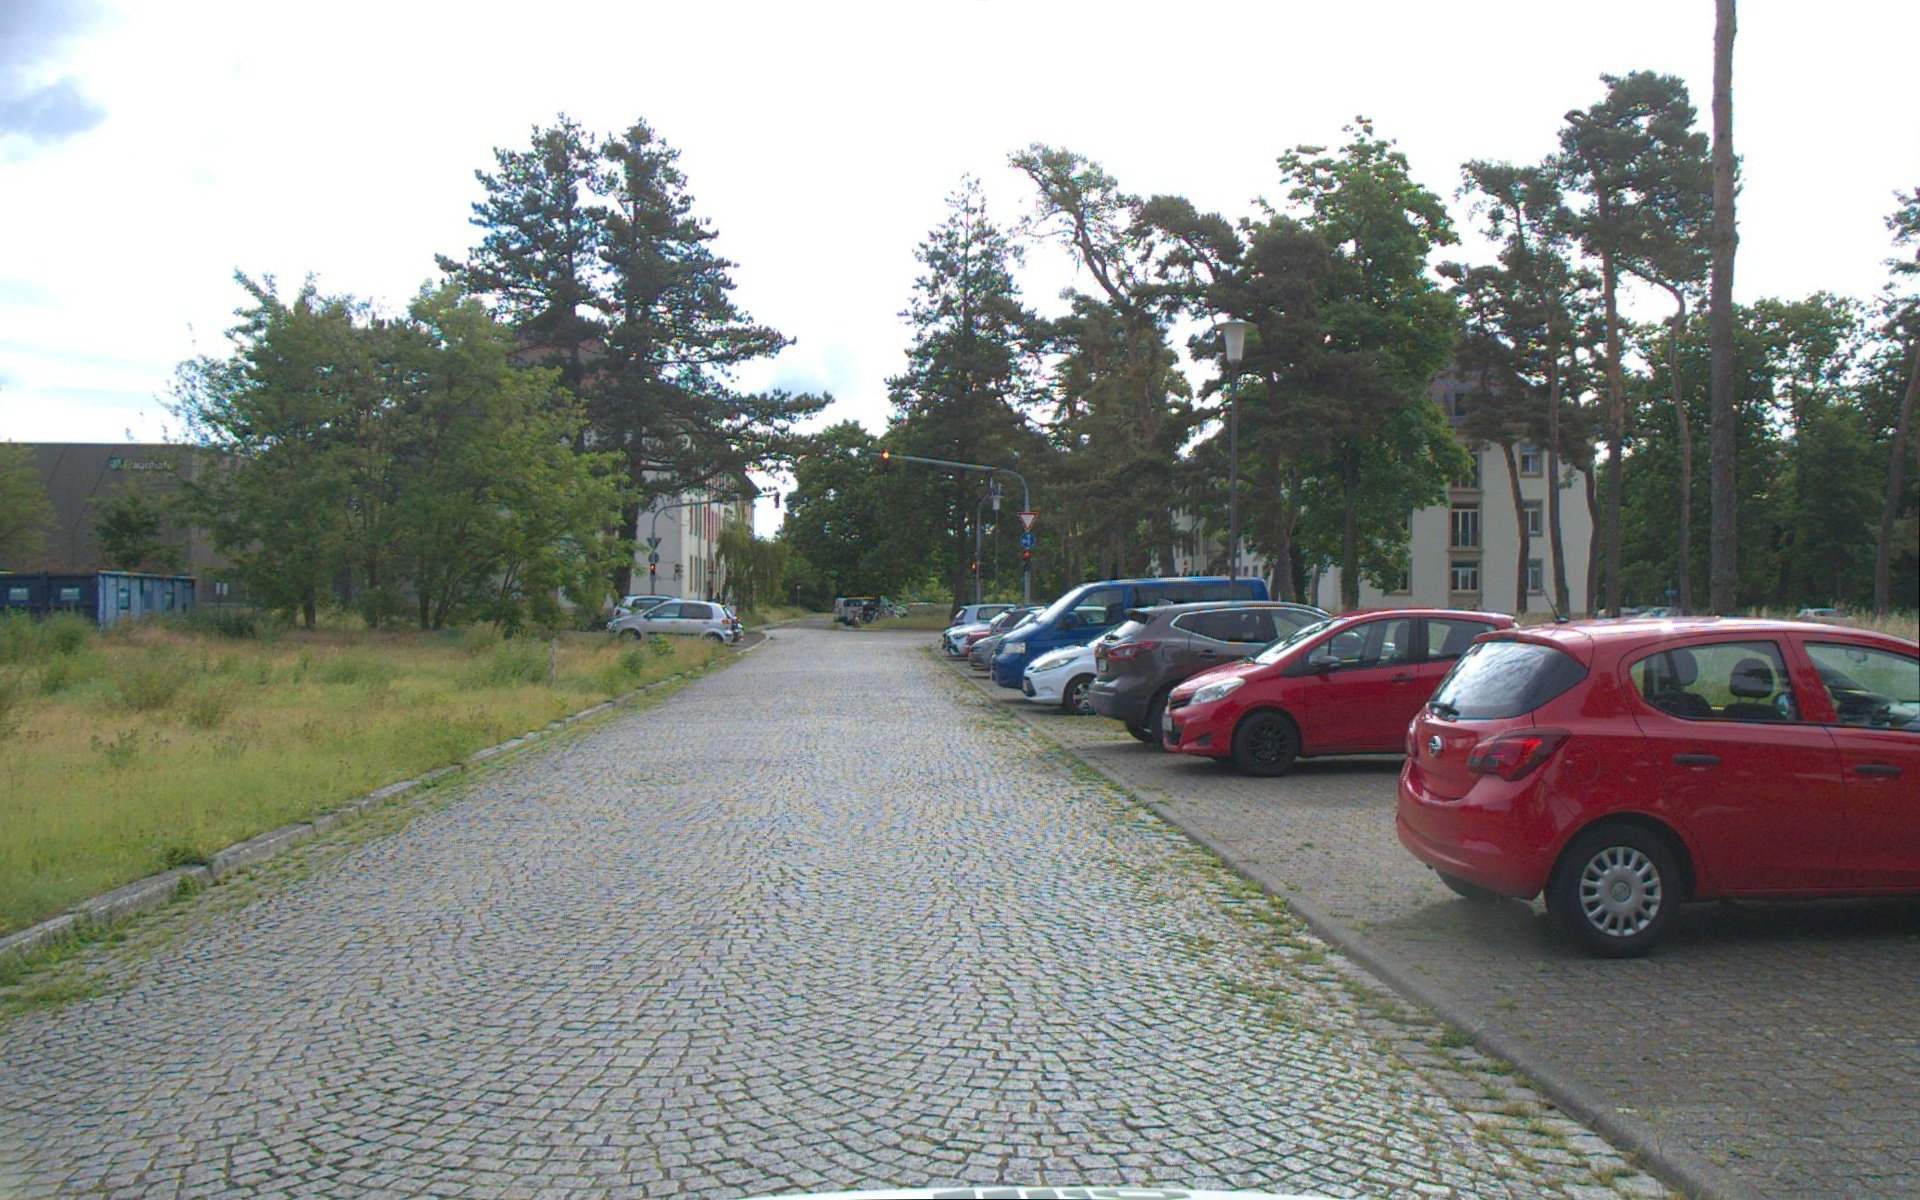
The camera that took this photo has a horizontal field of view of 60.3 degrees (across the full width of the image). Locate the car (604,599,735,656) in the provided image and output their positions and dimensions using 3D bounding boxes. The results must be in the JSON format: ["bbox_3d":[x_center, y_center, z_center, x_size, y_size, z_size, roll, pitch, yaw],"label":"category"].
[{"bbox_3d":[-8.629,0.814,49.406,3.749,1.600,1.562,-1,0,-7],"label":"car"}]

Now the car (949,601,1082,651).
[{"bbox_3d":[1.704,0.804,51.202,3.894,1.446,1.617,-1,0,-8],"label":"car"}]

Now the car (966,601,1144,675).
[{"bbox_3d":[2.005,0.805,35.459,3.601,1.475,1.522,-1,0,-6],"label":"car"}]

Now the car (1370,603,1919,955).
[{"bbox_3d":[4.185,0.781,8.298,3.751,1.486,1.777,-1,0,-5],"label":"car"}]

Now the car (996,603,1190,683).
[{"bbox_3d":[2.598,0.831,32.716,3.601,1.475,1.522,-1,0,-6],"label":"car"}]

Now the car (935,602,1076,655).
[{"bbox_3d":[1.315,0.813,48.520,3.894,1.446,1.617,-1,0,-8],"label":"car"}]

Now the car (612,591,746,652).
[{"bbox_3d":[-9.277,0.703,54.775,4.179,1.873,1.742,-1,0,-5],"label":"car"}]

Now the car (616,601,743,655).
[{"bbox_3d":[-8.743,0.860,51.818,3.746,1.600,1.563,-1,0,-5],"label":"car"}]

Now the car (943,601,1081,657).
[{"bbox_3d":[1.415,0.799,45.666,3.603,1.446,1.521,-1,0,-8],"label":"car"}]

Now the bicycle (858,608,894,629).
[{"bbox_3d":[-5.051,1.096,99.738,2.097,1.236,0.621,1,-1,-8],"label":"bicycle"}]

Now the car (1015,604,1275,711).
[{"bbox_3d":[2.730,0.835,24.841,3.601,1.475,1.612,-1,0,-7],"label":"car"}]

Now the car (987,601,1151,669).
[{"bbox_3d":[2.499,0.799,38.487,3.601,1.475,1.522,-1,0,-6],"label":"car"}]

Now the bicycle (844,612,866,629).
[{"bbox_3d":[-6.067,1.162,95.590,0.614,0.961,1.645,1,0,-31],"label":"bicycle"}]

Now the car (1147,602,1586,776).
[{"bbox_3d":[3.802,0.804,15.873,3.717,1.486,1.749,-1,0,-4],"label":"car"}]

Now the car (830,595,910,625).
[{"bbox_3d":[-6.423,0.725,117.584,5.351,2.049,2.261,1,0,-13],"label":"car"}]

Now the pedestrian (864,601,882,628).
[{"bbox_3d":[-5.266,0.886,100.067,1.014,1.642,0.756,1,-1,-8],"label":"pedestrian"}]

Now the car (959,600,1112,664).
[{"bbox_3d":[1.856,0.783,41.152,3.601,1.475,1.522,-1,0,-6],"label":"car"}]

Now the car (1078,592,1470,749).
[{"bbox_3d":[3.435,0.750,18.503,3.951,1.580,1.748,-1,0,-6],"label":"car"}]

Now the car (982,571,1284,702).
[{"bbox_3d":[2.803,0.586,27.445,4.662,1.989,1.929,-1,0,-6],"label":"car"}]
